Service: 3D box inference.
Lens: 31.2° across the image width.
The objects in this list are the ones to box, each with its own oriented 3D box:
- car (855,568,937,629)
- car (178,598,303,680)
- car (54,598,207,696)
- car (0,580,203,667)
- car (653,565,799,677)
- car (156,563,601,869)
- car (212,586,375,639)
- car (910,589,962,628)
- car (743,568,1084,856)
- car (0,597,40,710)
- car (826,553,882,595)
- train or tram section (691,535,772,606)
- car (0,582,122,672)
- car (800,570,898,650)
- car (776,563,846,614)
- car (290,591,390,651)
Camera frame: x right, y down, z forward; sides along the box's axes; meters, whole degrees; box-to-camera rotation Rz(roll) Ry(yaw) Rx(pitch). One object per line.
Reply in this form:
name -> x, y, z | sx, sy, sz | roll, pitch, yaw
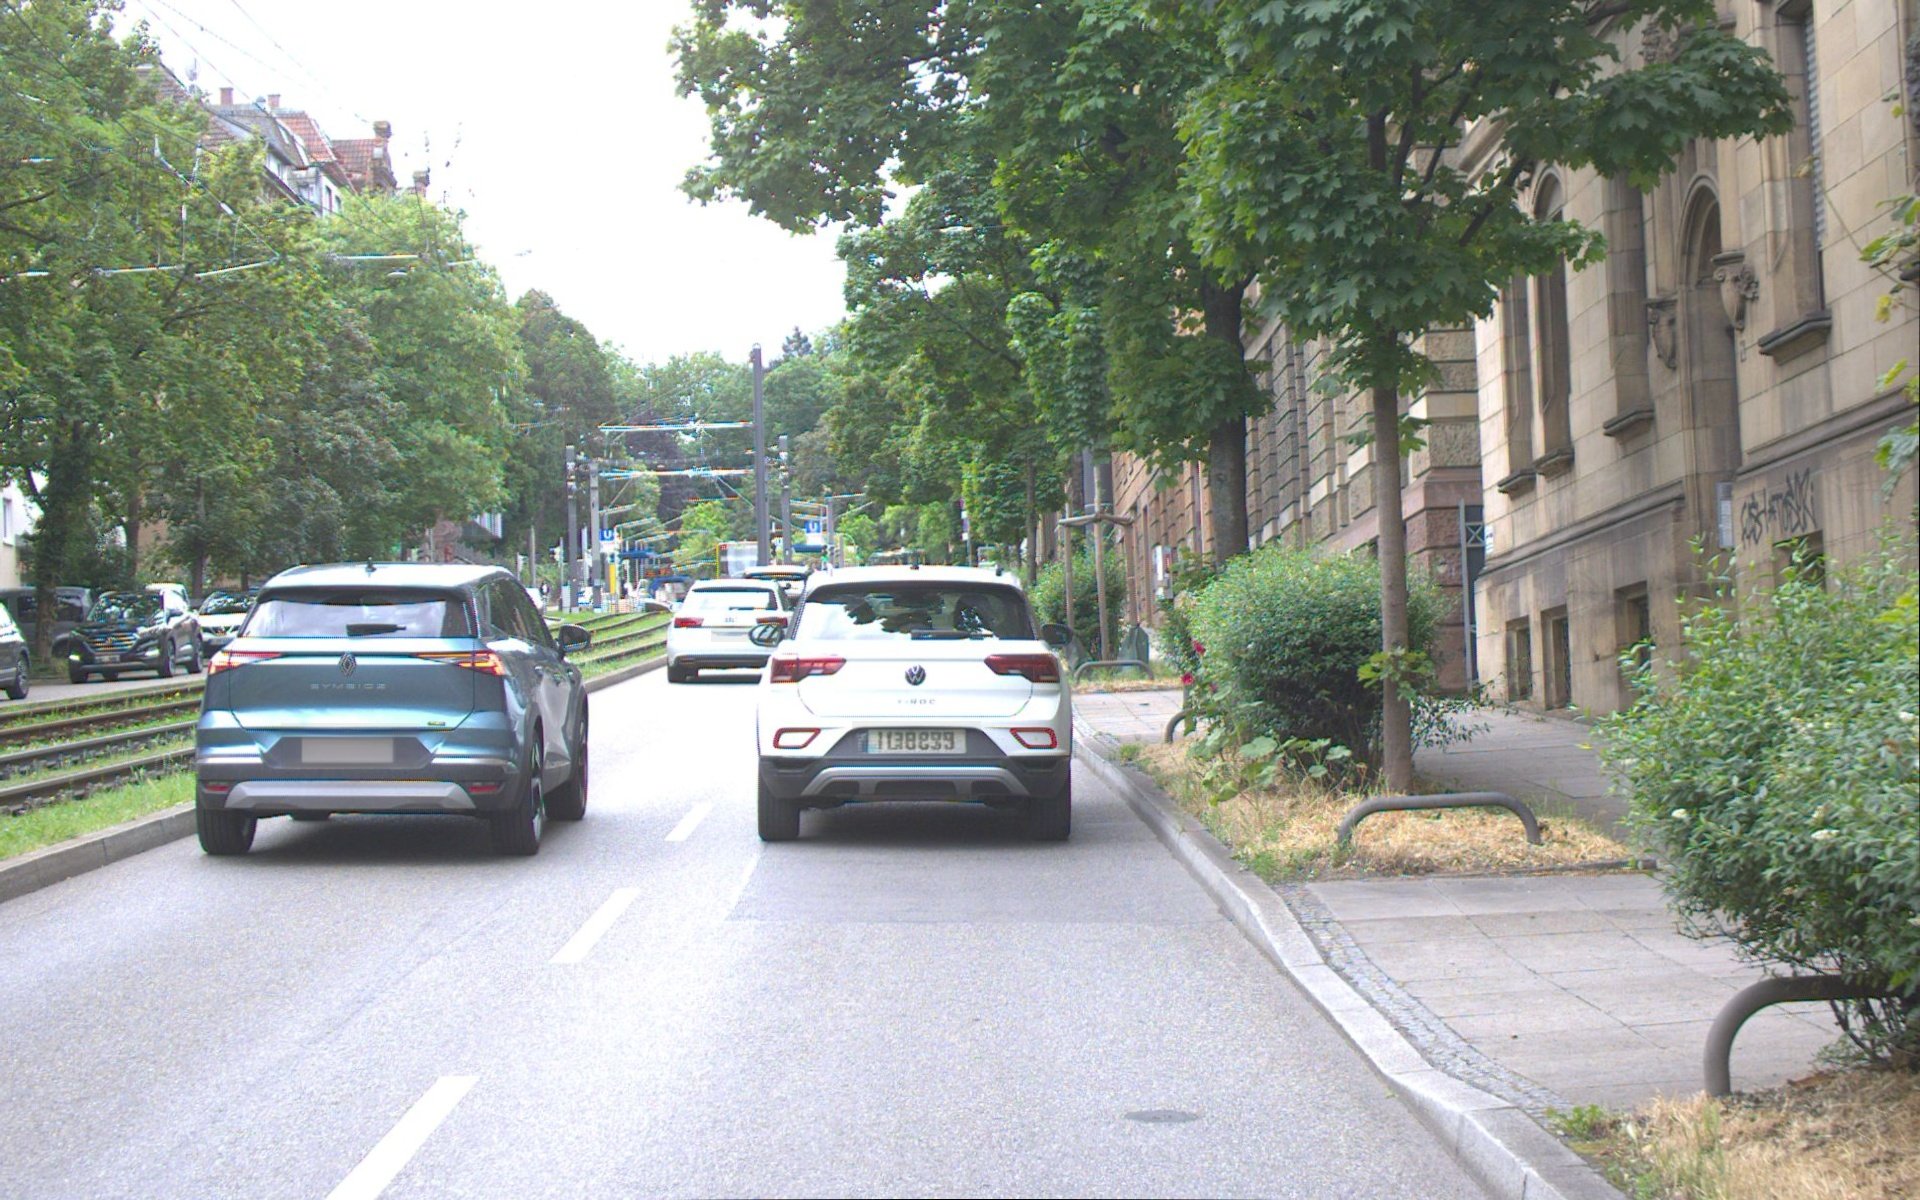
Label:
car -> -1.703, -0.044, 89.615 | 2.068, 1.541, 4.194 | 0, 0, -2
car -> -15.730, 0.832, 75.330 | 1.780, 1.611, 4.346 | -3, 0, -1
car -> -15.423, 0.839, 64.100 | 1.780, 1.651, 4.243 | -3, 0, -1
car -> -19.873, 0.537, 79.607 | 4.177, 1.830, 1.872 | -2, 0, -27
car -> -3.332, 0.281, 49.562 | 1.835, 1.541, 4.193 | 0, 0, 0
car -> -3.161, 0.581, 19.494 | 1.835, 1.541, 4.193 | 0, 0, 0
car -> -20.796, 0.373, 107.348 | 4.593, 1.612, 1.936 | 0, 0, -34
car -> -0.959, 0.349, 138.418 | 2.068, 1.541, 4.193 | 0, 0, 0
car -> -0.308, 0.595, 20.619 | 1.835, 1.541, 4.194 | 0, 0, -2
car -> -15.064, 0.847, 50.431 | 1.880, 1.644, 4.470 | -3, 1, -1
car -> -3.988, -0.964, 129.664 | 2.068, 1.541, 4.194 | 0, 0, -2
train or tram section -> -11.363, -1.454, 171.818 | 2.996, 3.337, 13.438 | -2, 0, 0
car -> -19.672, 0.574, 70.977 | 4.178, 1.761, 1.872 | -2, 0, -30
car -> -2.168, 0.187, 68.258 | 1.835, 1.541, 4.193 | 0, 0, 0
car -> -4.603, -0.343, 105.926 | 2.068, 1.541, 4.194 | 0, 0, -4
car -> -15.896, 0.521, 88.349 | 1.724, 1.405, 4.598 | -3, 0, -1
